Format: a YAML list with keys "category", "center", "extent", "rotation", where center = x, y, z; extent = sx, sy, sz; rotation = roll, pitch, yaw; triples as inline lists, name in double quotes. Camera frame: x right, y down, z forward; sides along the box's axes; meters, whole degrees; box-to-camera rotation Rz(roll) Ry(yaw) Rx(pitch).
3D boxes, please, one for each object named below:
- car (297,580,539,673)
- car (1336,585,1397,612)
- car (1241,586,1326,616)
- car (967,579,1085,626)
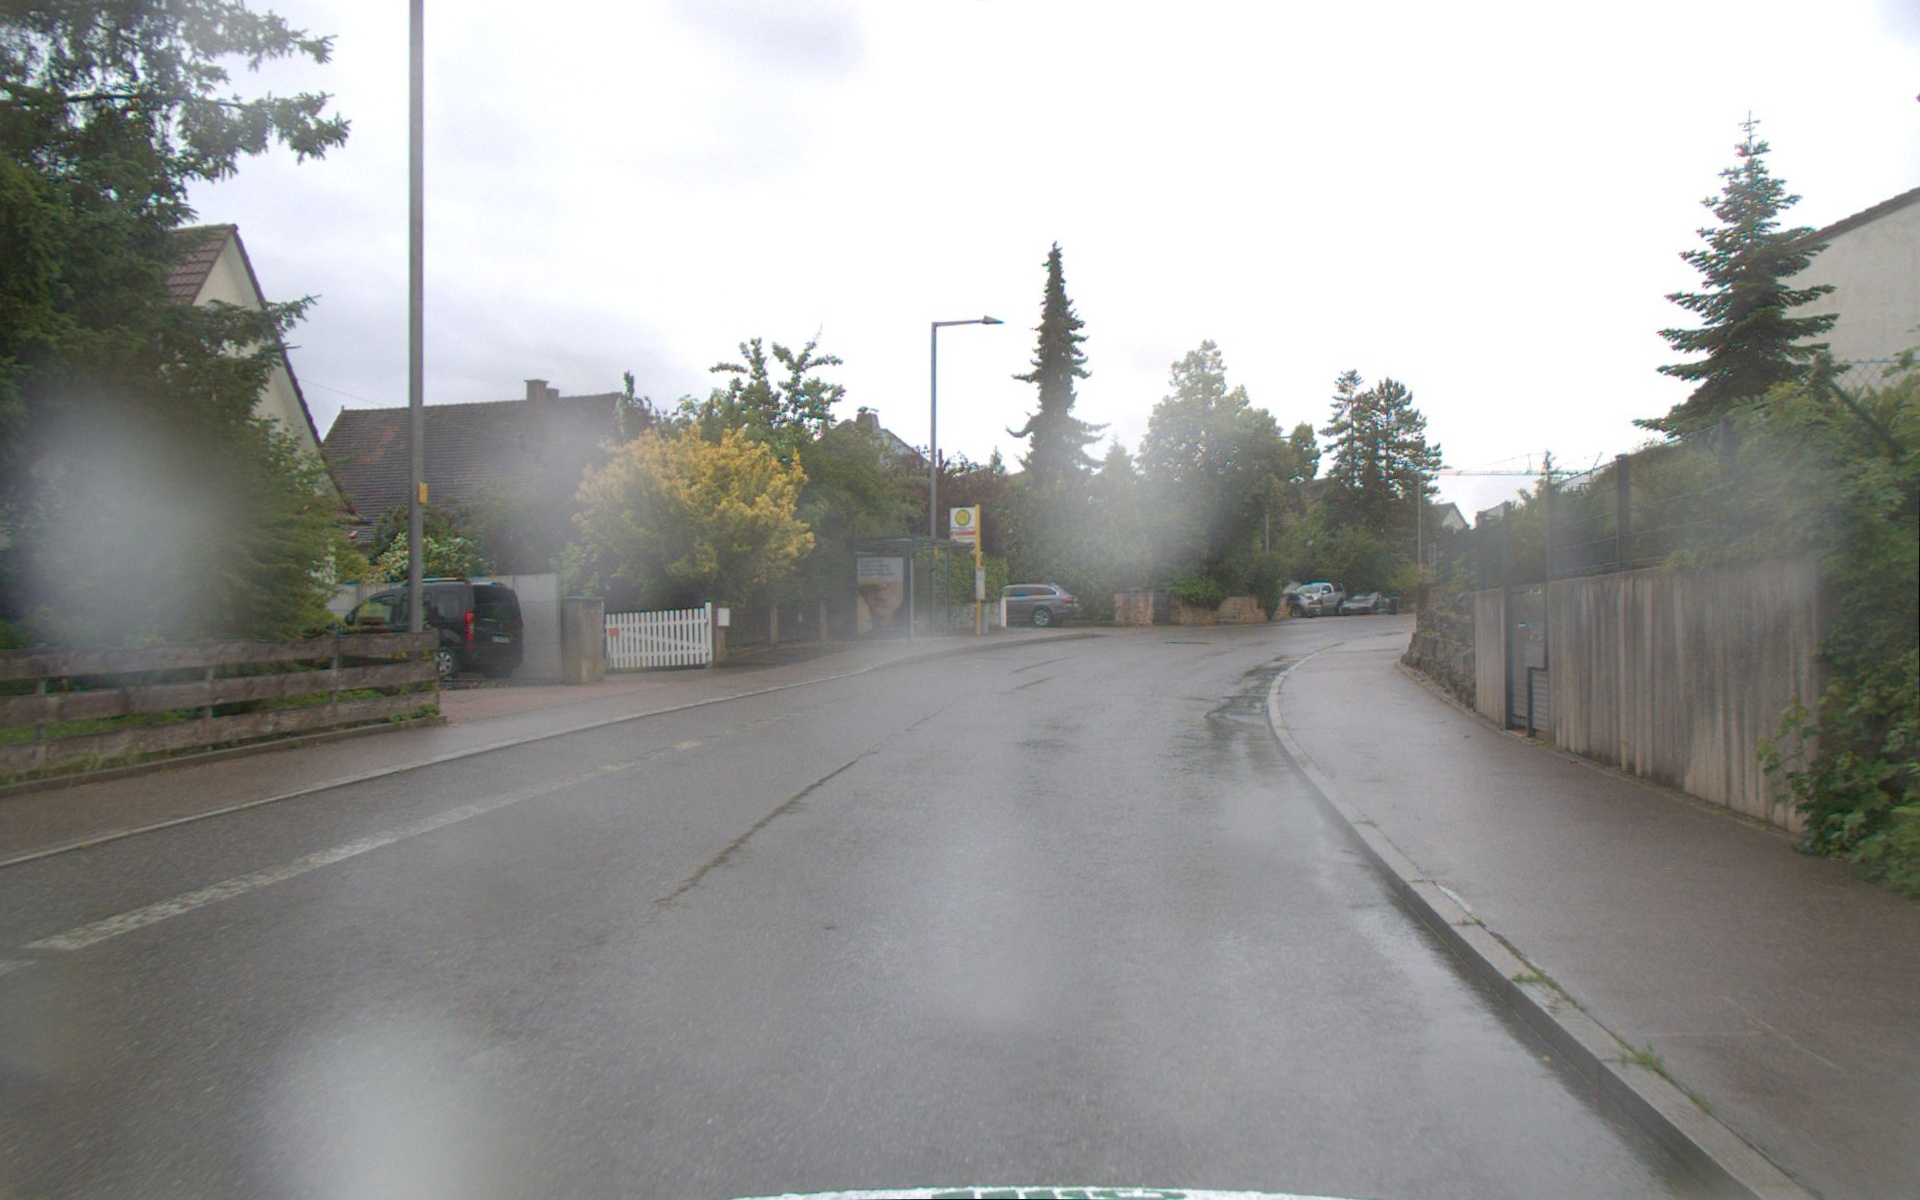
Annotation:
- category: "car"
  center: [-10.155, 0.460, 31.043]
  extent: [3.904, 1.648, 2.001]
  rotation: [0, 0, 19]
- category: "car"
  center: [22.624, -0.090, 92.063]
  extent: [1.960, 1.486, 3.985]
  rotation: [0, 0, 36]
- category: "car"
  center: [16.657, 0.043, 85.259]
  extent: [3.917, 1.486, 1.896]
  rotation: [0, 0, 34]
- category: "car"
  center: [2.272, 0.080, 56.748]
  extent: [3.762, 1.599, 1.787]
  rotation: [0, 0, 14]
